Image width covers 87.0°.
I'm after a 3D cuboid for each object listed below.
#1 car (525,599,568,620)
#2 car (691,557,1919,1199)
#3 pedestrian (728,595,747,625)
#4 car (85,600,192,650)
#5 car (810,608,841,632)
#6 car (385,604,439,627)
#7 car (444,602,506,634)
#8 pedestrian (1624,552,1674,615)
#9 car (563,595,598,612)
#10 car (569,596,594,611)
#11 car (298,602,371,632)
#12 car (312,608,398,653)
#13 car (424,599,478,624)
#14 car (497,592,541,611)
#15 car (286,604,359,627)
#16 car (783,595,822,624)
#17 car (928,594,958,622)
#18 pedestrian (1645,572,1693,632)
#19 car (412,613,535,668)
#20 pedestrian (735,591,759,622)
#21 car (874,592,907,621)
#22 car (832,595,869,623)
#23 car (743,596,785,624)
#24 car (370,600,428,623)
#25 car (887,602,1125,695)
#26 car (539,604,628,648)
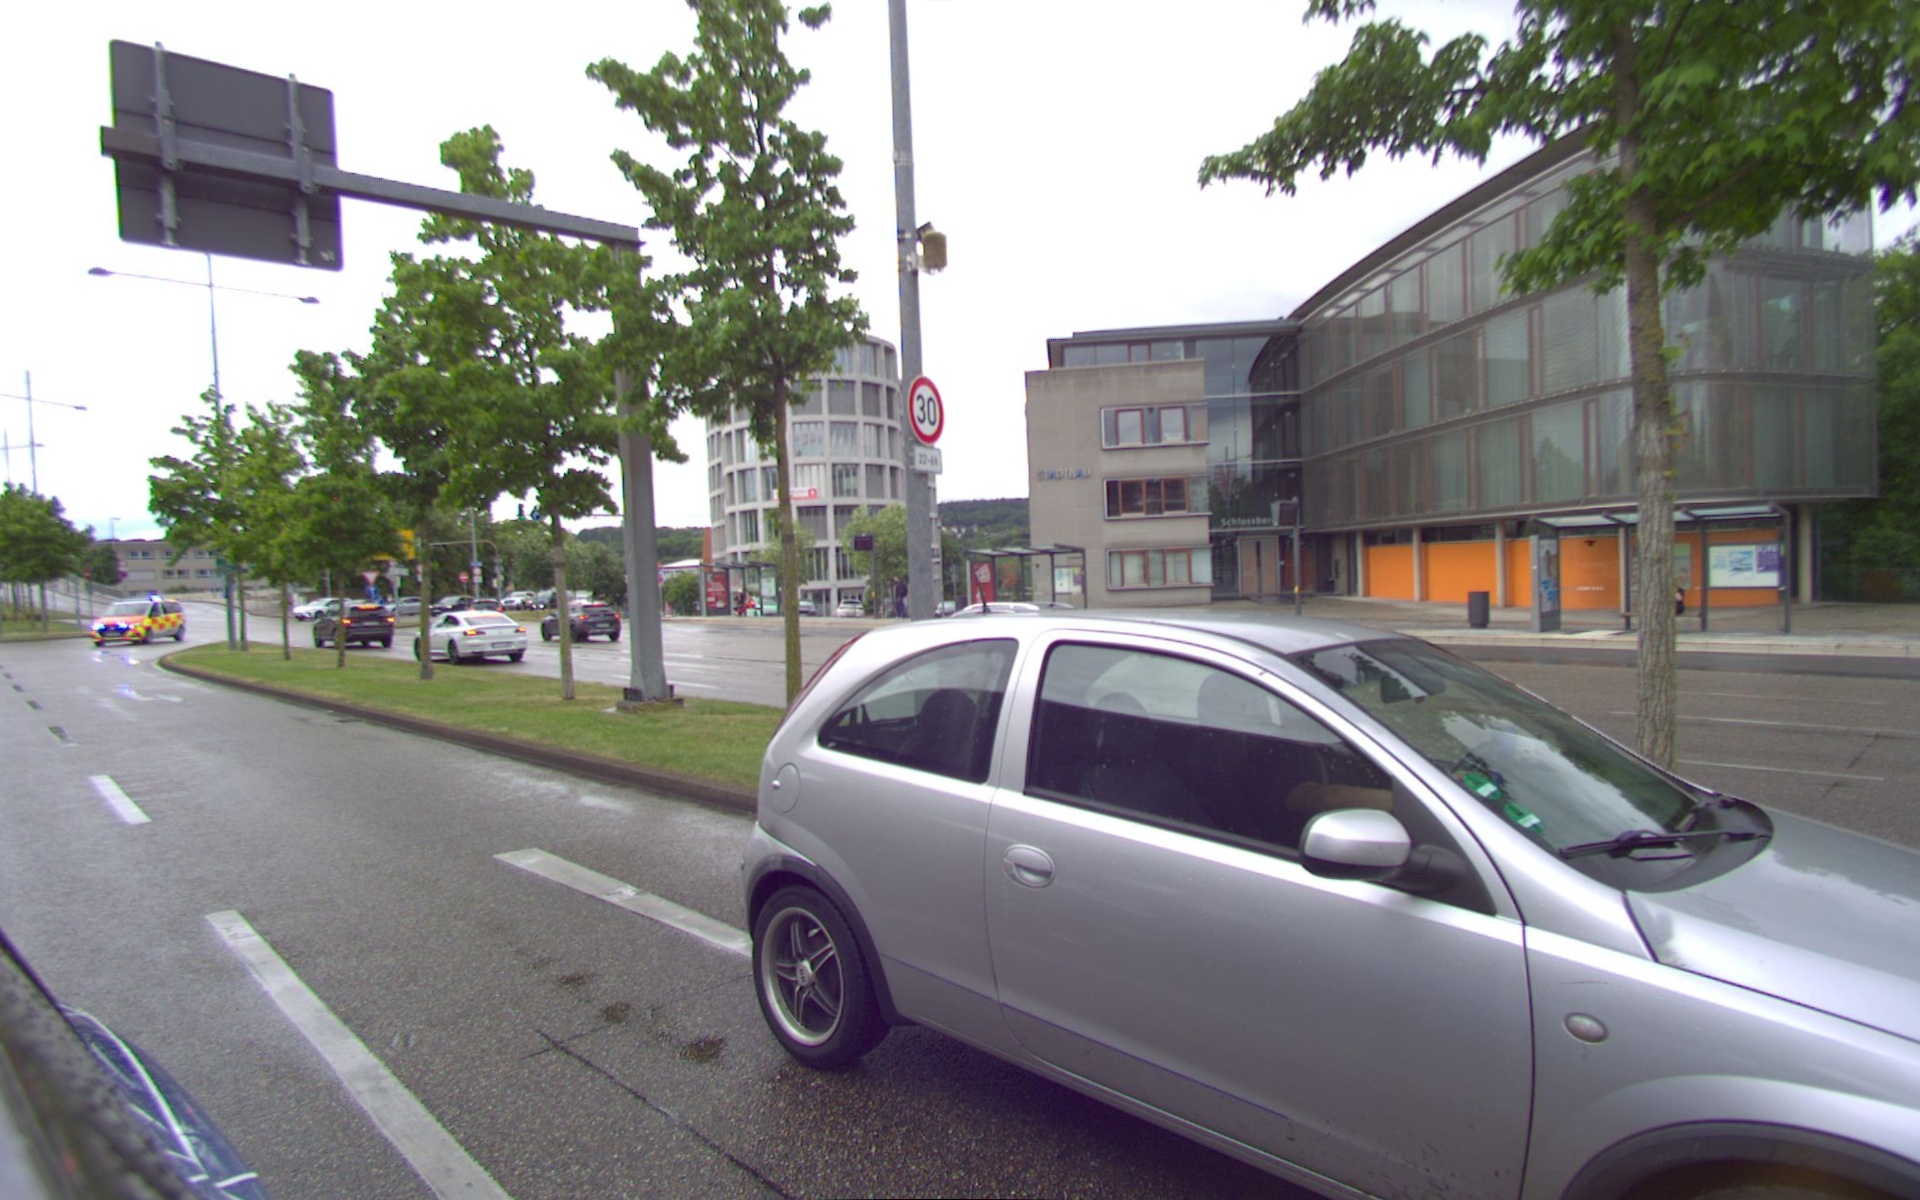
[{"bbox_3d":[-34.657,0.787,84.935,1.851,1.646,4.156,0,0,1],"label":"car"},{"bbox_3d":[1.003,0.685,2.740,3.721,1.477,1.676,-1,0,44],"label":"car"},{"bbox_3d":[-11.340,0.515,51.519,0.722,1.501,0.736,0,0,-37],"label":"pedestrian"},{"bbox_3d":[-35.982,1.038,44.493,1.966,2.029,5.077,0,0,-18],"label":"car"},{"bbox_3d":[-10.339,1.529,77.997,1.851,1.715,4.157,0,0,0],"label":"car"},{"bbox_3d":[-41.864,1.156,77.374,1.851,1.715,4.156,0,0,1],"label":"car"},{"bbox_3d":[-25.168,0.911,52.435,1.857,1.566,4.007,0,0,-42],"label":"car"},{"bbox_3d":[20.027,-0.482,29.432,0.773,1.769,0.828,-4,1,-20],"label":"pedestrian"},{"bbox_3d":[-37.888,0.338,101.207,1.851,1.646,4.155,0,0,2],"label":"car"},{"bbox_3d":[-40.774,0.371,109.201,1.846,1.646,4.166,0,0,-11],"label":"car"},{"bbox_3d":[-37.574,0.985,60.899,1.851,1.715,4.157,0,0,0],"label":"car"},{"bbox_3d":[-22.596,1.083,37.760,1.981,1.566,4.169,0,0,-42],"label":"car"},{"bbox_3d":[-37.150,0.830,73.944,1.851,1.715,4.156,0,0,1],"label":"car"},{"bbox_3d":[-38.107,0.141,87.570,1.851,1.646,4.299,0,0,1],"label":"car"},{"bbox_3d":[-44.319,1.060,70.413,1.800,1.571,4.020,-1,0,22],"label":"car"},{"bbox_3d":[-9.890,0.583,63.828,1.851,1.715,4.157,0,0,0],"label":"car"},{"bbox_3d":[-1.037,0.508,63.773,1.851,1.715,4.157,0,0,0],"label":"car"},{"bbox_3d":[15.879,0.042,22.667,0.658,1.309,0.721,0,0,-40],"label":"pedestrian"},{"bbox_3d":[-13.679,1.080,28.361,1.981,1.363,4.169,0,0,-43],"label":"car"},{"bbox_3d":[-10.713,0.326,50.805,0.968,1.501,0.736,0,0,-35],"label":"pedestrian"},{"bbox_3d":[-4.373,0.407,64.141,1.851,1.715,4.157,0,0,0],"label":"car"},{"bbox_3d":[-6.873,0.543,63.829,1.851,1.714,4.157,-1,0,0],"label":"car"},{"bbox_3d":[-12.369,0.605,63.938,1.851,1.715,4.157,0,0,0],"label":"car"},{"bbox_3d":[-44.376,0.893,80.132,1.856,1.646,4.145,-1,0,9],"label":"car"},{"bbox_3d":[0.711,0.786,18.388,1.674,1.477,4.457,0,0,-42],"label":"car"},{"bbox_3d":[-14.375,0.950,38.517,1.857,1.566,4.007,0,0,-42],"label":"car"}]
